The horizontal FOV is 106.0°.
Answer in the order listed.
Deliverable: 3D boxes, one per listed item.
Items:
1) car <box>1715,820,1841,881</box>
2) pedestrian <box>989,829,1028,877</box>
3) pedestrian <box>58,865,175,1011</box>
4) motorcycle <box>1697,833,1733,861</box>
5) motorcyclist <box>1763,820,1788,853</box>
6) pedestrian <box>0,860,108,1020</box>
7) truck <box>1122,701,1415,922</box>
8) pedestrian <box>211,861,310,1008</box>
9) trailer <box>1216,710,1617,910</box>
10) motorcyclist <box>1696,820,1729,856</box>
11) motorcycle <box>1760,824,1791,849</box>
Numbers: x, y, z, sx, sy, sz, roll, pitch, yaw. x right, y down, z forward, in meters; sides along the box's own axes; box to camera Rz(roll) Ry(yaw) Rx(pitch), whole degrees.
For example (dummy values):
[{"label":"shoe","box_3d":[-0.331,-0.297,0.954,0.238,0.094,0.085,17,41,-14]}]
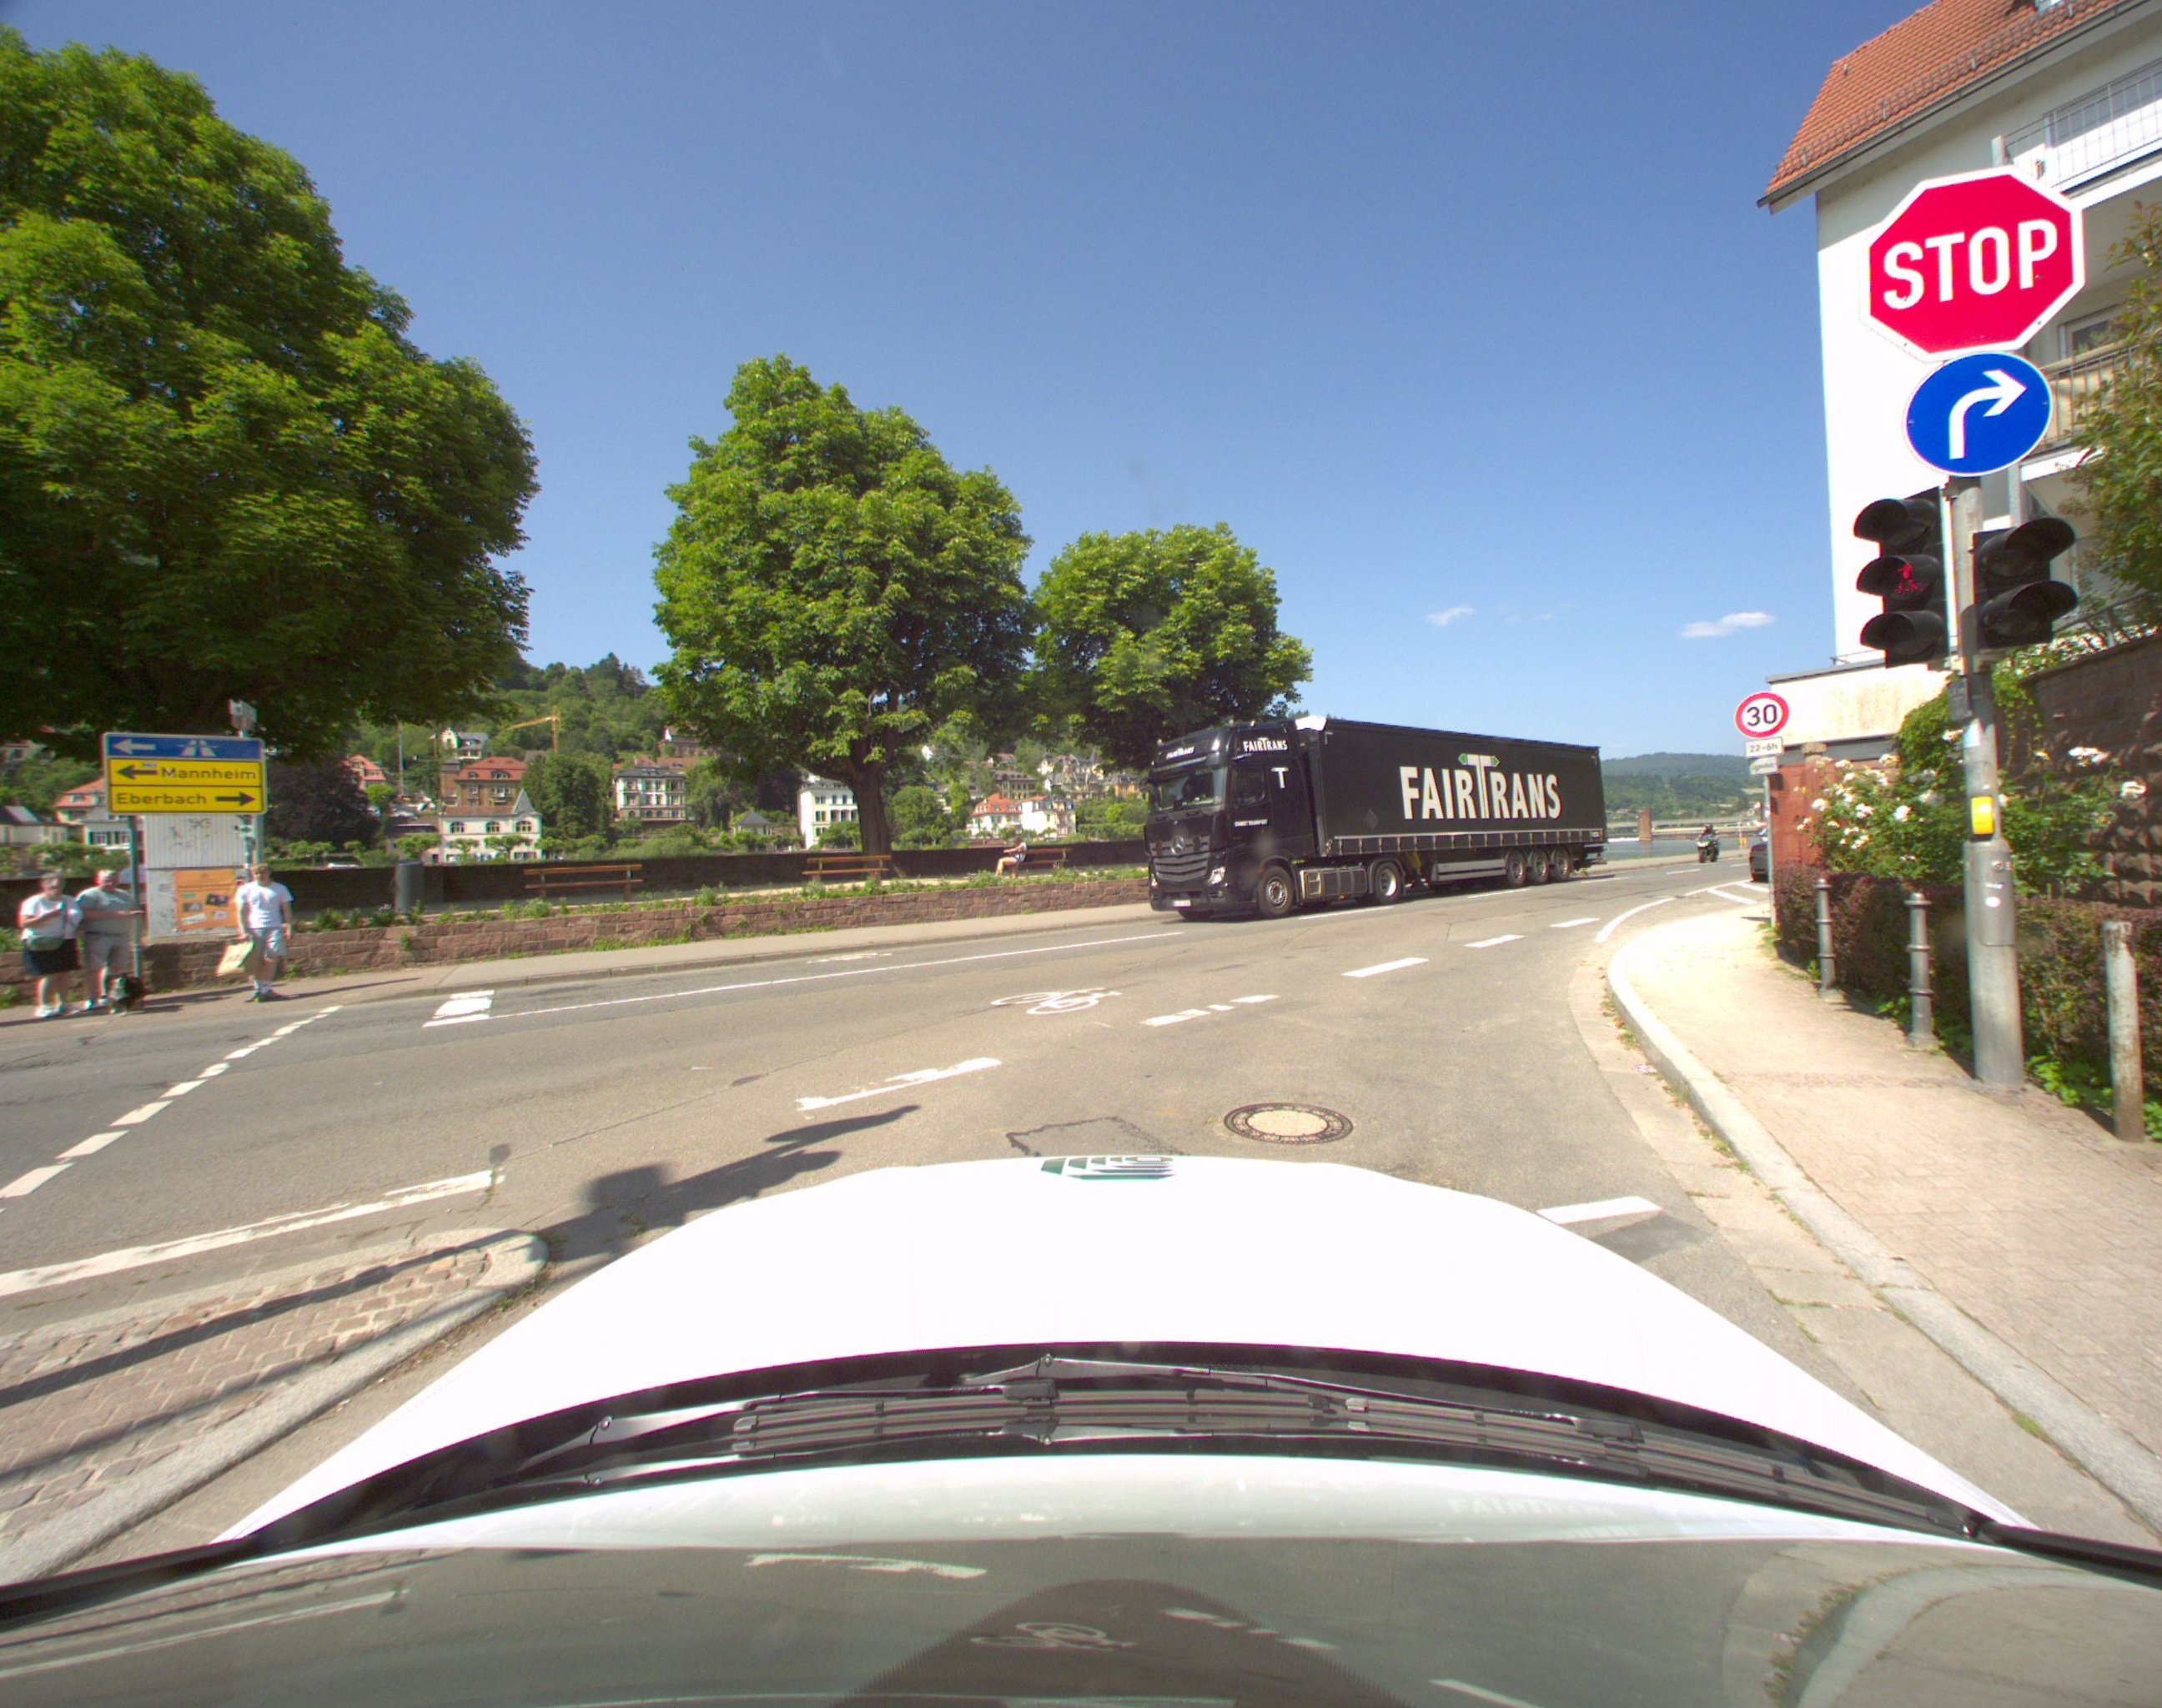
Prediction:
[{"label":"car","box_3d":[17.644,-0.119,20.567,3.757,1.399,1.674,-2,1,-37]},{"label":"pedestrian","box_3d":[-1.972,-0.020,22.107,0.803,1.211,0.708,0,-5,-31]},{"label":"pedestrian","box_3d":[-12.460,1.048,10.545,0.691,1.769,0.711,-2,-1,-24]},{"label":"motorcycle","box_3d":[27.285,-0.308,35.053,2.102,1.123,0.628,-2,-3,-37]},{"label":"motorcyclist","box_3d":[33.834,-0.848,39.673,0.996,1.525,0.658,-2,-2,-37]},{"label":"pedestrian","box_3d":[-12.402,1.009,9.762,0.635,1.802,0.718,-4,-1,-24]},{"label":"truck","box_3d":[4.208,-0.824,17.850,5.959,4.071,2.808,-3,-2,-36]},{"label":"pedestrian","box_3d":[-10.612,1.013,10.555,0.707,1.802,0.574,-2,-1,-28]},{"label":"trailer","box_3d":[9.700,-1.086,21.836,13.832,4.104,2.811,-3,-2,-36]},{"label":"motorcyclist","box_3d":[26.996,-0.700,34.829,0.996,1.460,0.772,-2,-2,-36]},{"label":"motorcycle","box_3d":[33.850,-0.857,39.696,2.102,1.123,0.628,-2,-3,-37]}]
